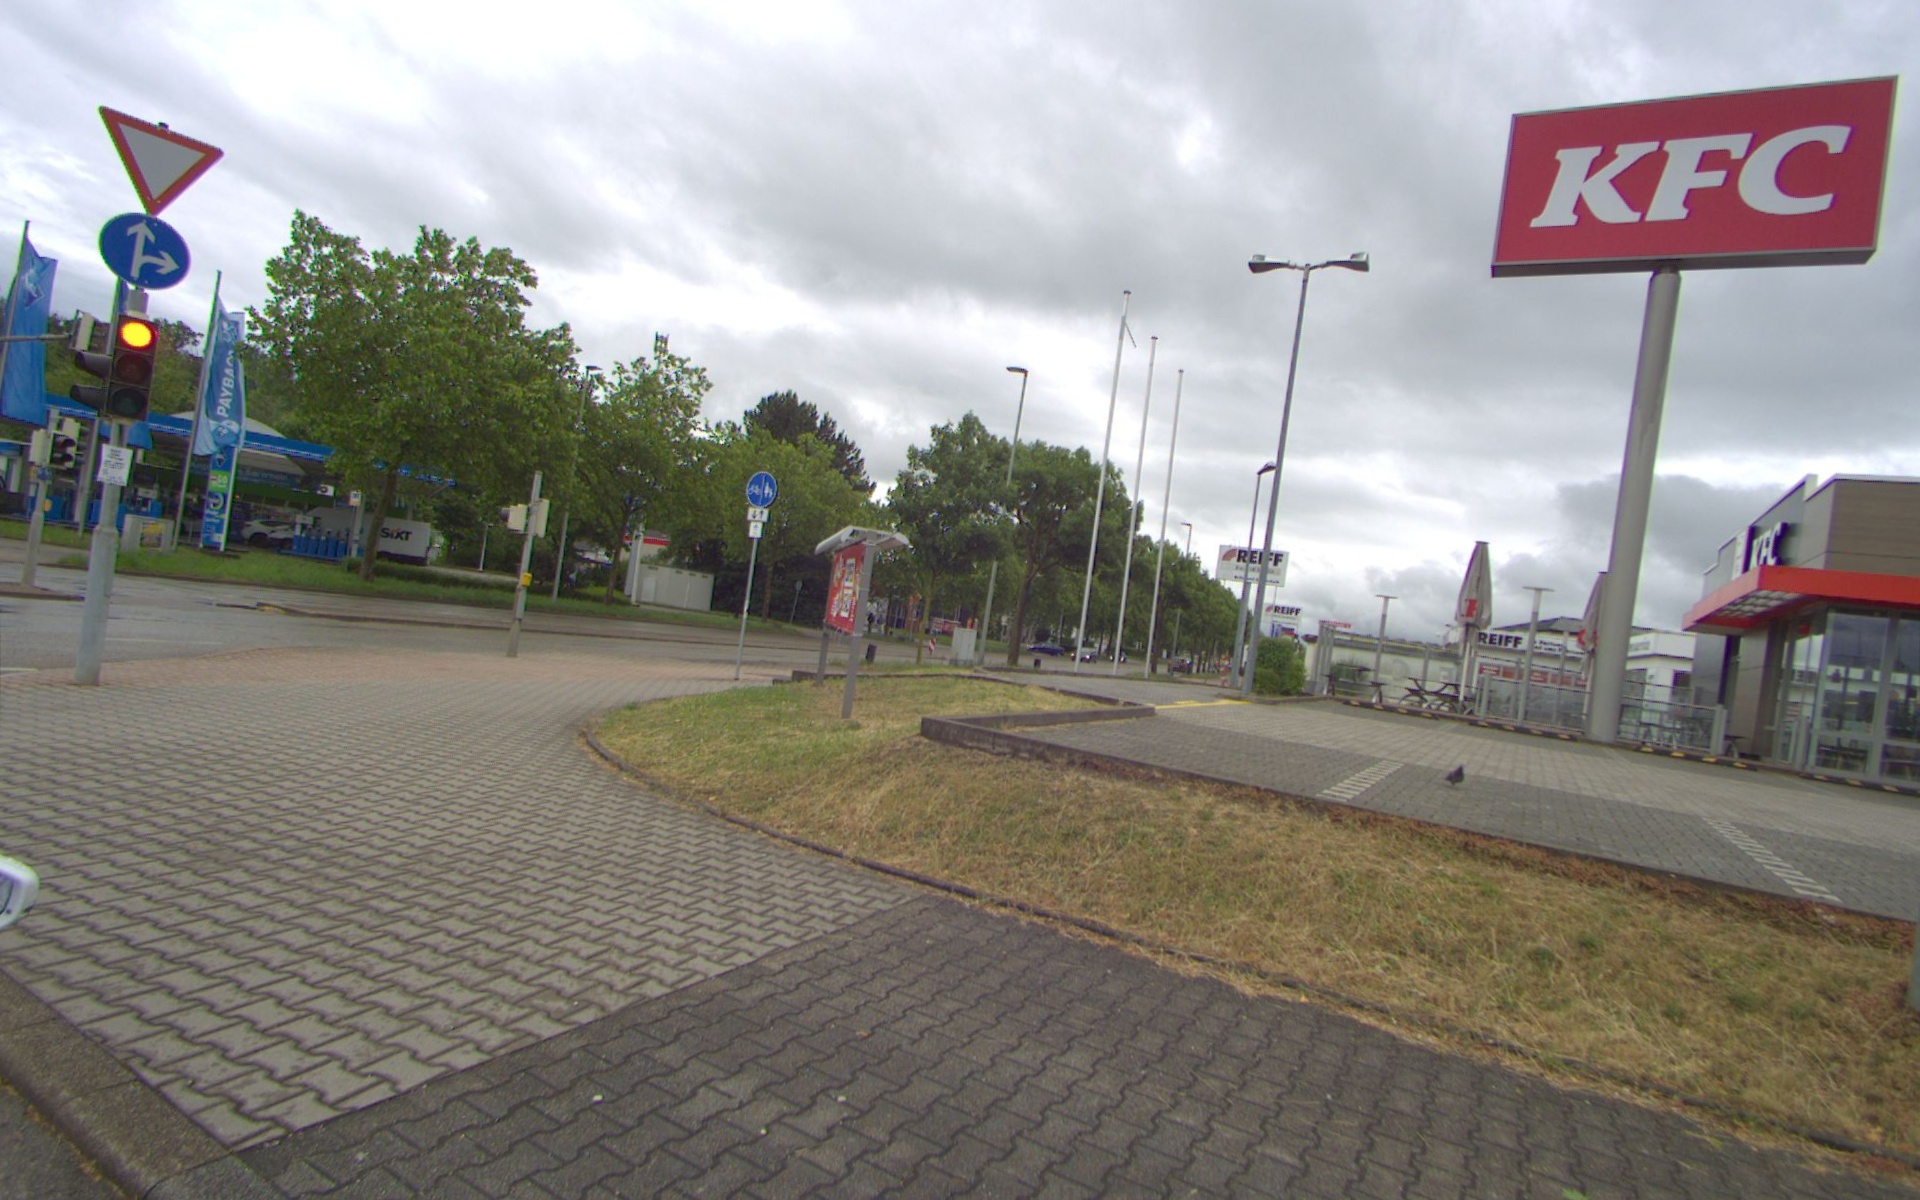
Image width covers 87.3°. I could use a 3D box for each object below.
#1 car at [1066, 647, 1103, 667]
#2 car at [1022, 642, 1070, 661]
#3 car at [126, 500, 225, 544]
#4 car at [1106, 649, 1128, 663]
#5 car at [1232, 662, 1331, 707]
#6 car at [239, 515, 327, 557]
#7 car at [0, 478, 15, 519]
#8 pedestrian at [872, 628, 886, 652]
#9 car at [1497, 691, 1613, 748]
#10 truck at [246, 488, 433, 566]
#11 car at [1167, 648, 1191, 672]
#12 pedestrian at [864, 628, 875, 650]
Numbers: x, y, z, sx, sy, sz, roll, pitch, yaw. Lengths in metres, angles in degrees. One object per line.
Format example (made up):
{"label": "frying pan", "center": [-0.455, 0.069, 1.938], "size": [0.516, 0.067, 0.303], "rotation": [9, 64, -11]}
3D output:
{"label": "car", "center": [12.096, 5.524, 97.496], "size": [1.965, 1.525, 4.732], "rotation": [5, -4, 26]}
{"label": "car", "center": [9.258, 5.598, 108.883], "size": [4.655, 1.525, 1.997], "rotation": [8, -3, -13]}
{"label": "car", "center": [-43.108, -4.261, 55.367], "size": [3.958, 1.748, 1.781], "rotation": [8, -1, -31]}
{"label": "car", "center": [20.058, 7.189, 128.311], "size": [1.619, 1.526, 3.893], "rotation": [6, -2, 24]}
{"label": "car", "center": [15.454, 4.054, 48.376], "size": [4.115, 1.570, 1.888], "rotation": [7, -1, 28]}
{"label": "car", "center": [-36.282, -3.405, 54.019], "size": [3.523, 1.600, 1.679], "rotation": [10, -2, -27]}
{"label": "car", "center": [-47.363, -5.060, 47.099], "size": [4.081, 1.829, 1.932], "rotation": [7, -1, -29]}
{"label": "pedestrian", "center": [-6.279, 3.100, 78.252], "size": [0.657, 1.788, 0.580], "rotation": [8, 0, 42]}
{"label": "car", "center": [24.704, 4.931, 41.939], "size": [3.931, 1.699, 1.956], "rotation": [7, -1, 28]}
{"label": "truck", "center": [-31.475, -3.612, 51.335], "size": [7.797, 2.707, 2.137], "rotation": [8, -1, -33]}
{"label": "car", "center": [21.887, 6.001, 100.382], "size": [1.718, 2.037, 4.002], "rotation": [7, -1, 19]}
{"label": "pedestrian", "center": [-7.048, 3.032, 78.346], "size": [0.504, 1.703, 0.540], "rotation": [6, 0, 21]}
